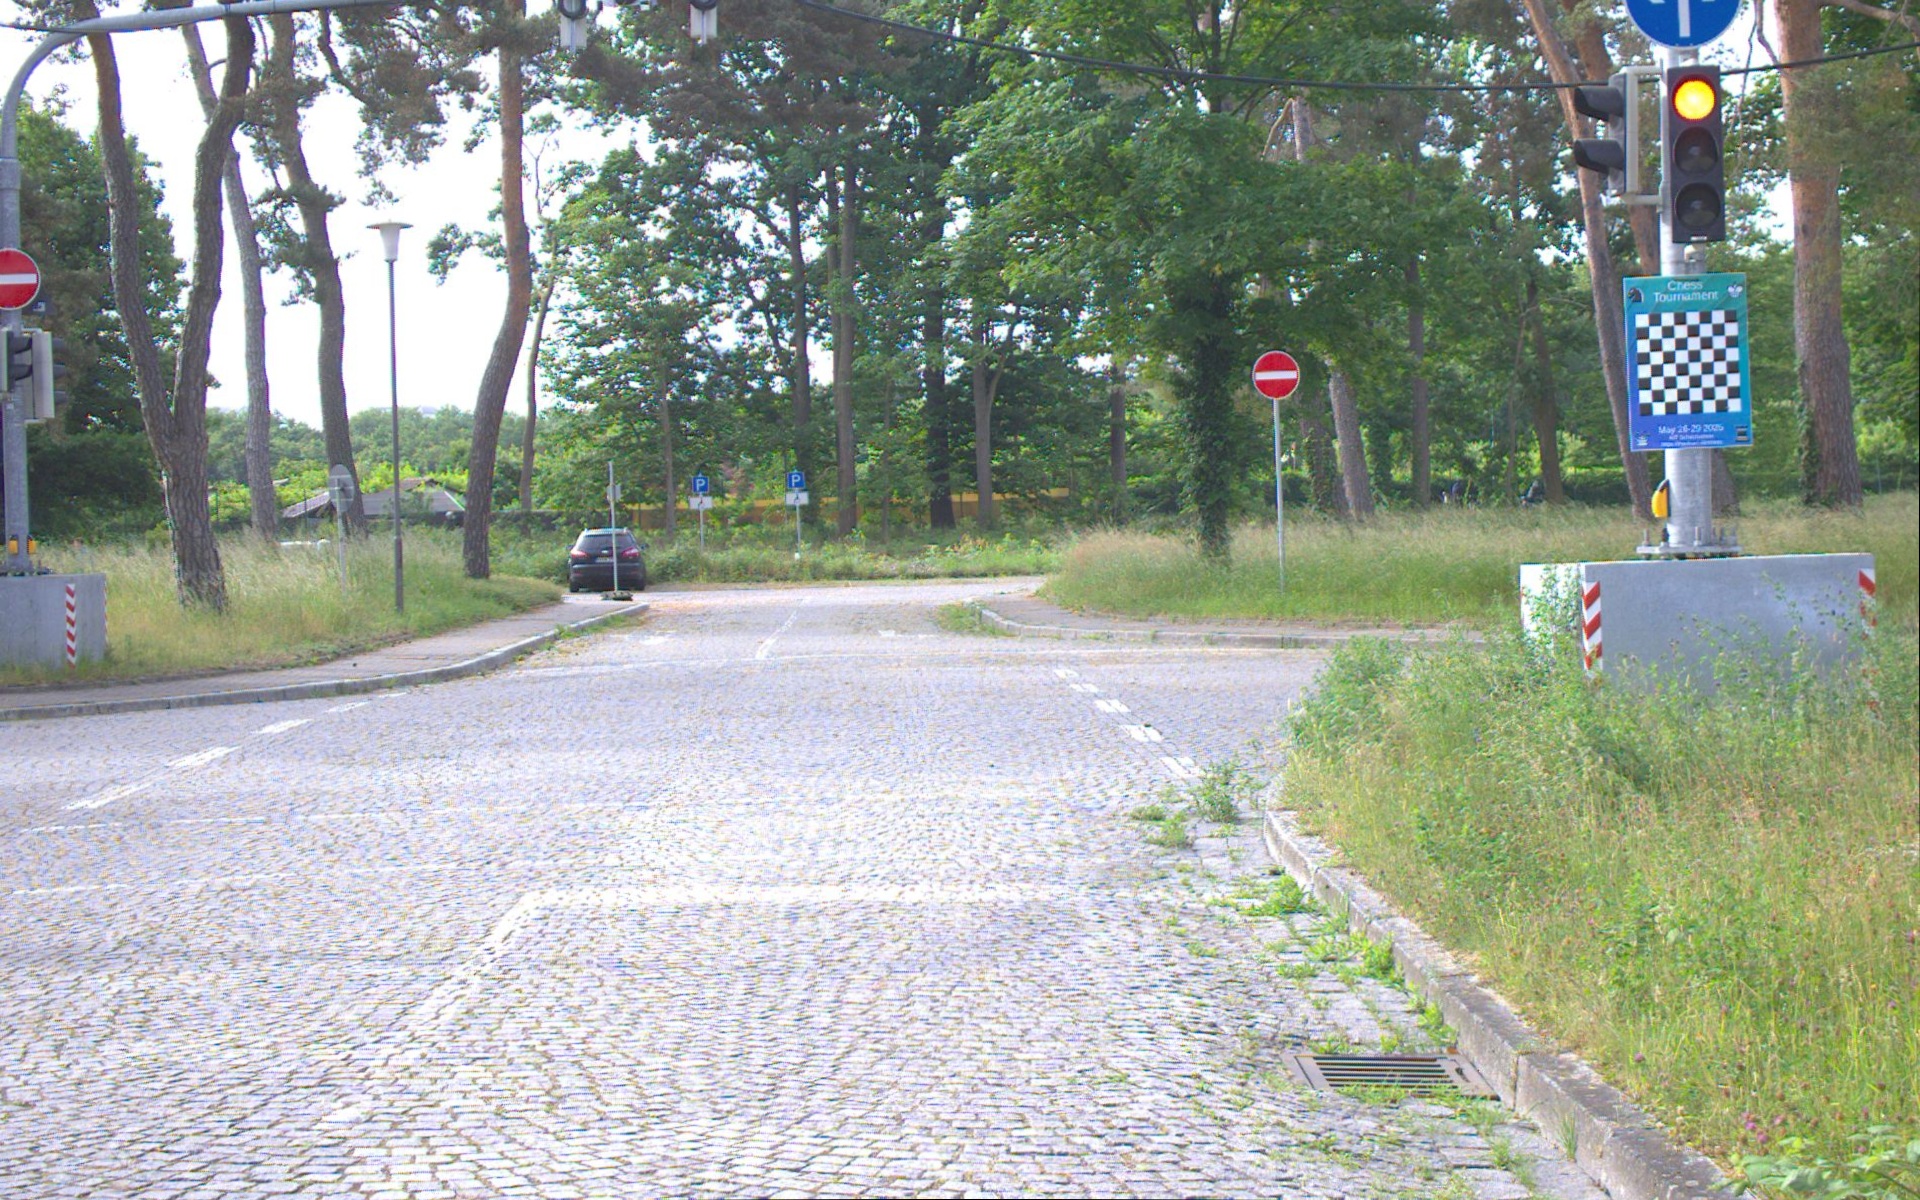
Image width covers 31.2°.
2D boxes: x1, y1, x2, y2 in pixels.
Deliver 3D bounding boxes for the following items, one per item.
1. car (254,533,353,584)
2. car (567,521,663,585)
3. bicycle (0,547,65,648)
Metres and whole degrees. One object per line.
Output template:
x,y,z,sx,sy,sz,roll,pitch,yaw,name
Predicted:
-16.265,-1.043,85.303,1.689,1.152,4.000,-2,1,0,car
-8.449,-1.179,84.511,1.993,1.503,4.000,0,2,0,car
-9.797,-0.019,34.607,1.459,0.992,0.452,-2,1,-8,bicycle
